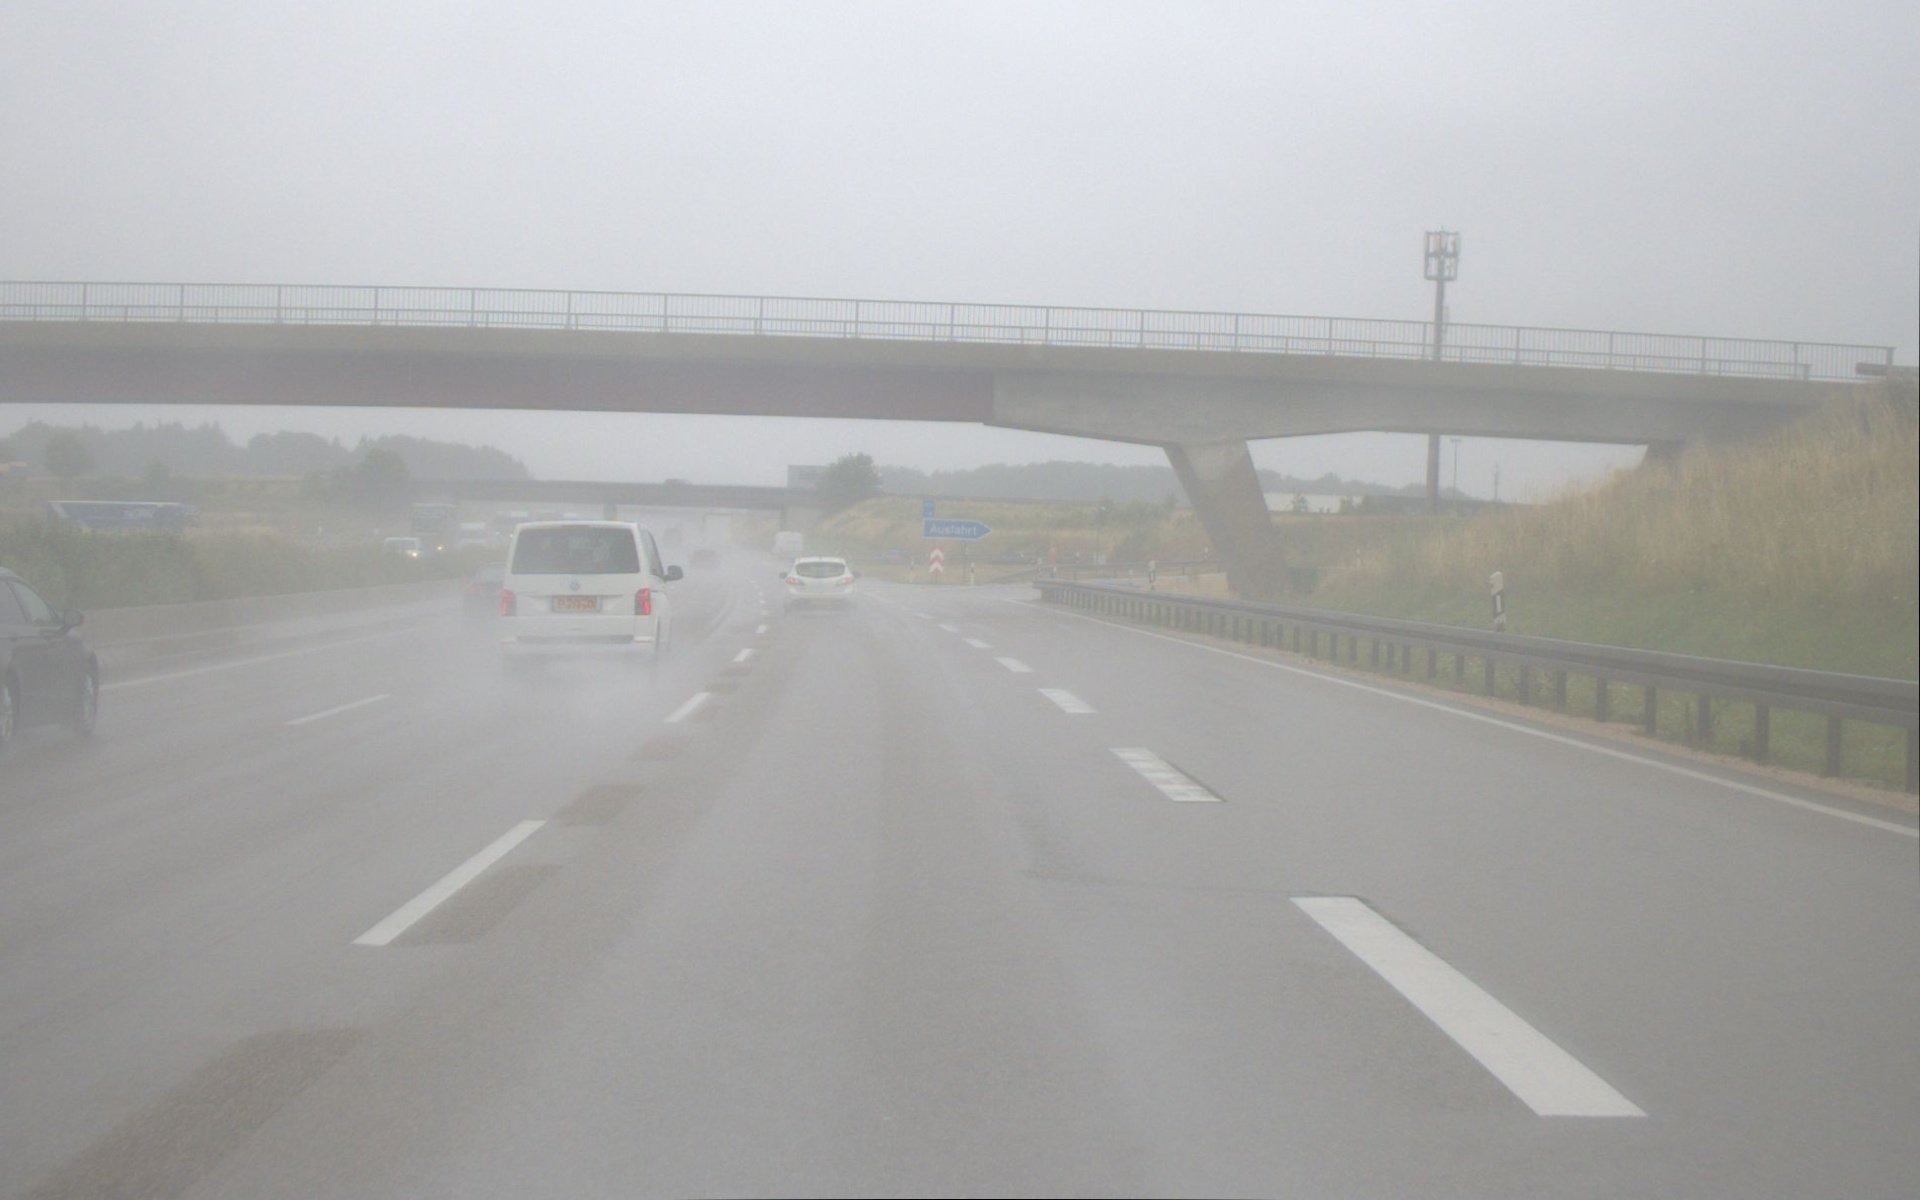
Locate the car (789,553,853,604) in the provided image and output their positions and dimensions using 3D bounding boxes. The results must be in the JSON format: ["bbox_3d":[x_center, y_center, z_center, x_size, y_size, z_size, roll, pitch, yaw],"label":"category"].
[{"bbox_3d":[-3.318,-0.524,82.522,1.468,1.204,2.991,0,0,-1],"label":"car"}]

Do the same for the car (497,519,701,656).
[{"bbox_3d":[-4.410,-0.167,42.551,1.897,1.580,4.000,1,1,3],"label":"car"}]

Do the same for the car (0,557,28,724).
[{"bbox_3d":[-8.546,0.336,27.201,1.612,1.349,4.001,0,1,-6],"label":"car"}]

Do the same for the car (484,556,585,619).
[{"bbox_3d":[-8.800,-0.268,71.287,1.468,1.253,3.339,0,0,4],"label":"car"}]
